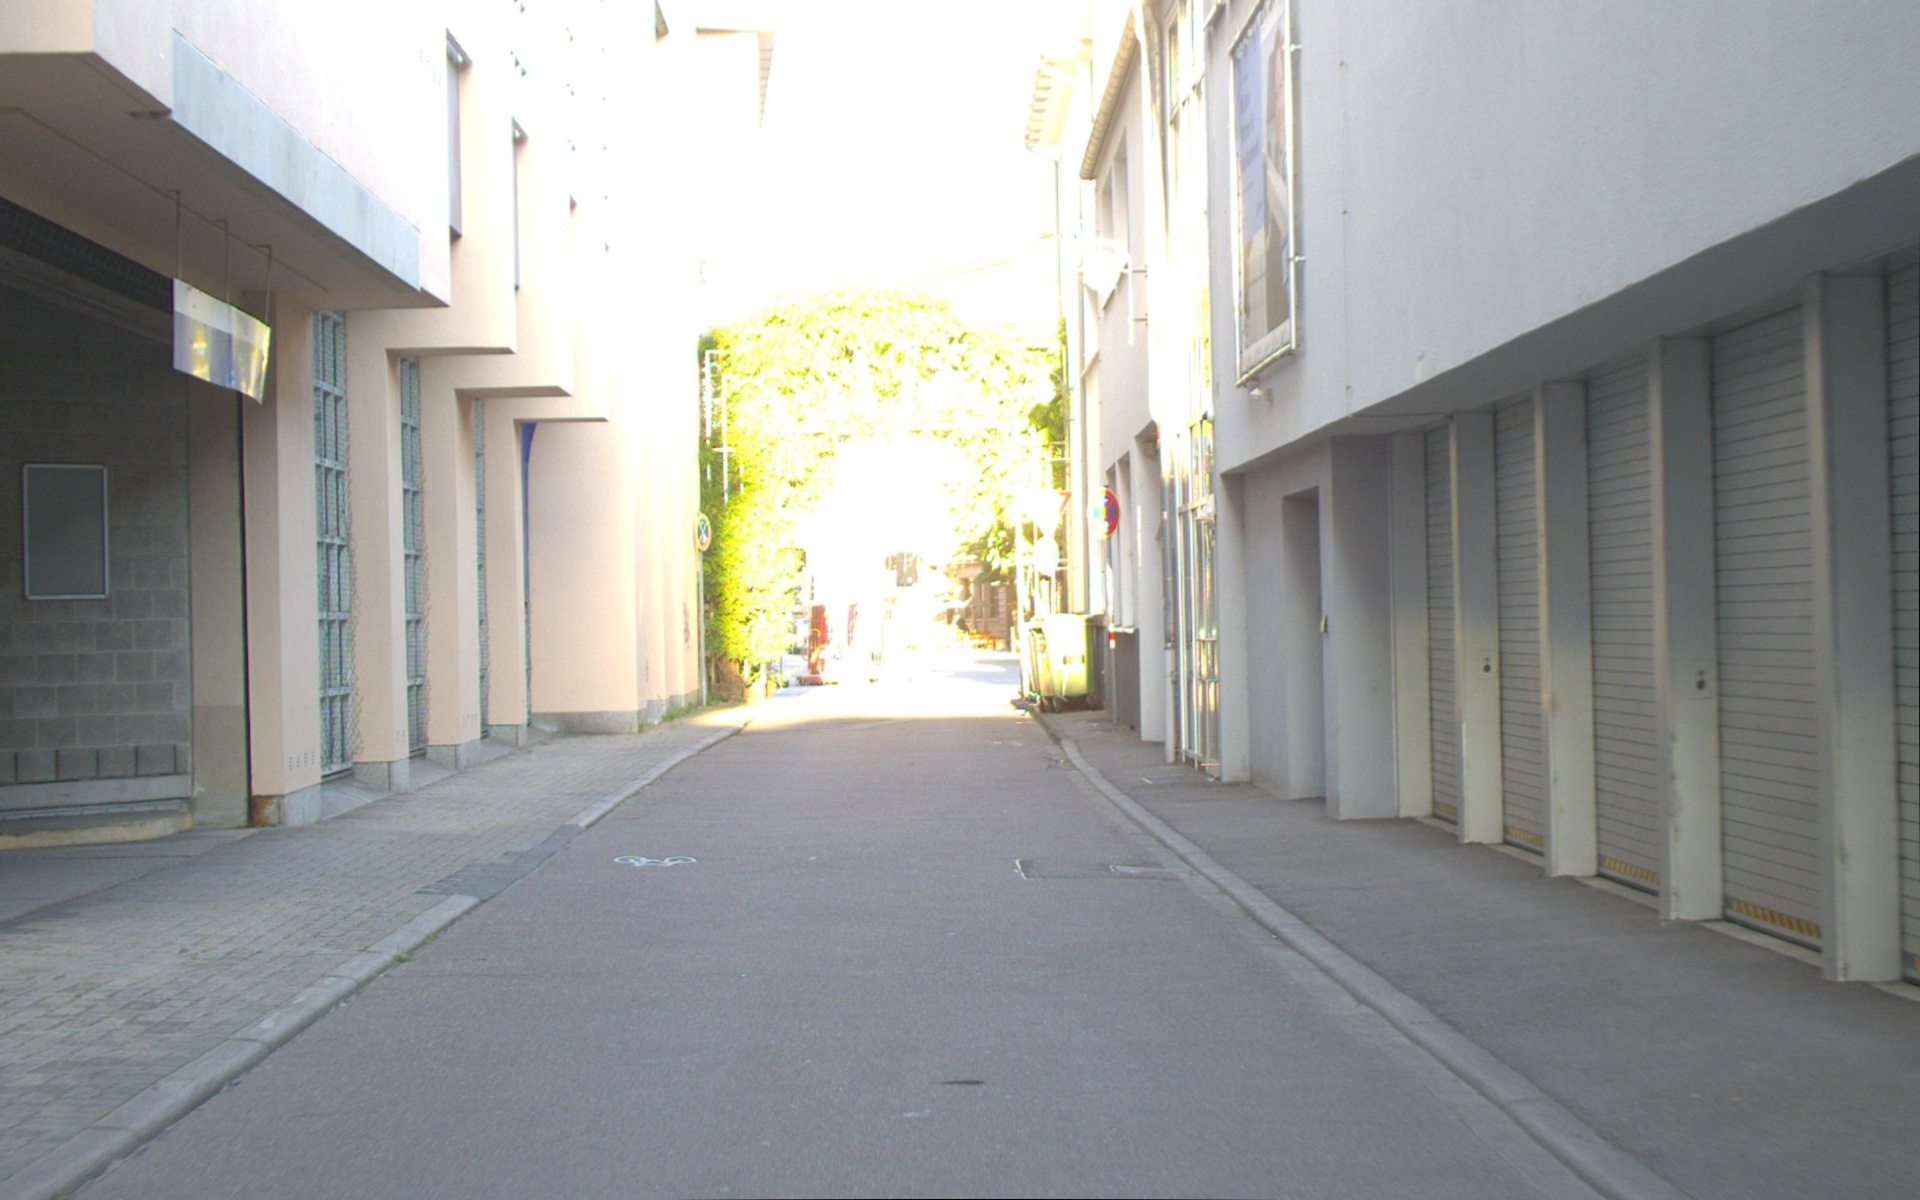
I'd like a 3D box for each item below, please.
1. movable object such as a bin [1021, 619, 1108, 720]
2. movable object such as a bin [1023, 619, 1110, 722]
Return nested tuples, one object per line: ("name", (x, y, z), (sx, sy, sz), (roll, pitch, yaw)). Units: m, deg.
("movable object such as a bin", (1.489, 0.990, 49.335), (1.064, 1.362, 1.342), (-3, 0, -3))
("movable object such as a bin", (1.477, 0.971, 47.929), (0.937, 1.362, 1.342), (-3, 0, -7))
